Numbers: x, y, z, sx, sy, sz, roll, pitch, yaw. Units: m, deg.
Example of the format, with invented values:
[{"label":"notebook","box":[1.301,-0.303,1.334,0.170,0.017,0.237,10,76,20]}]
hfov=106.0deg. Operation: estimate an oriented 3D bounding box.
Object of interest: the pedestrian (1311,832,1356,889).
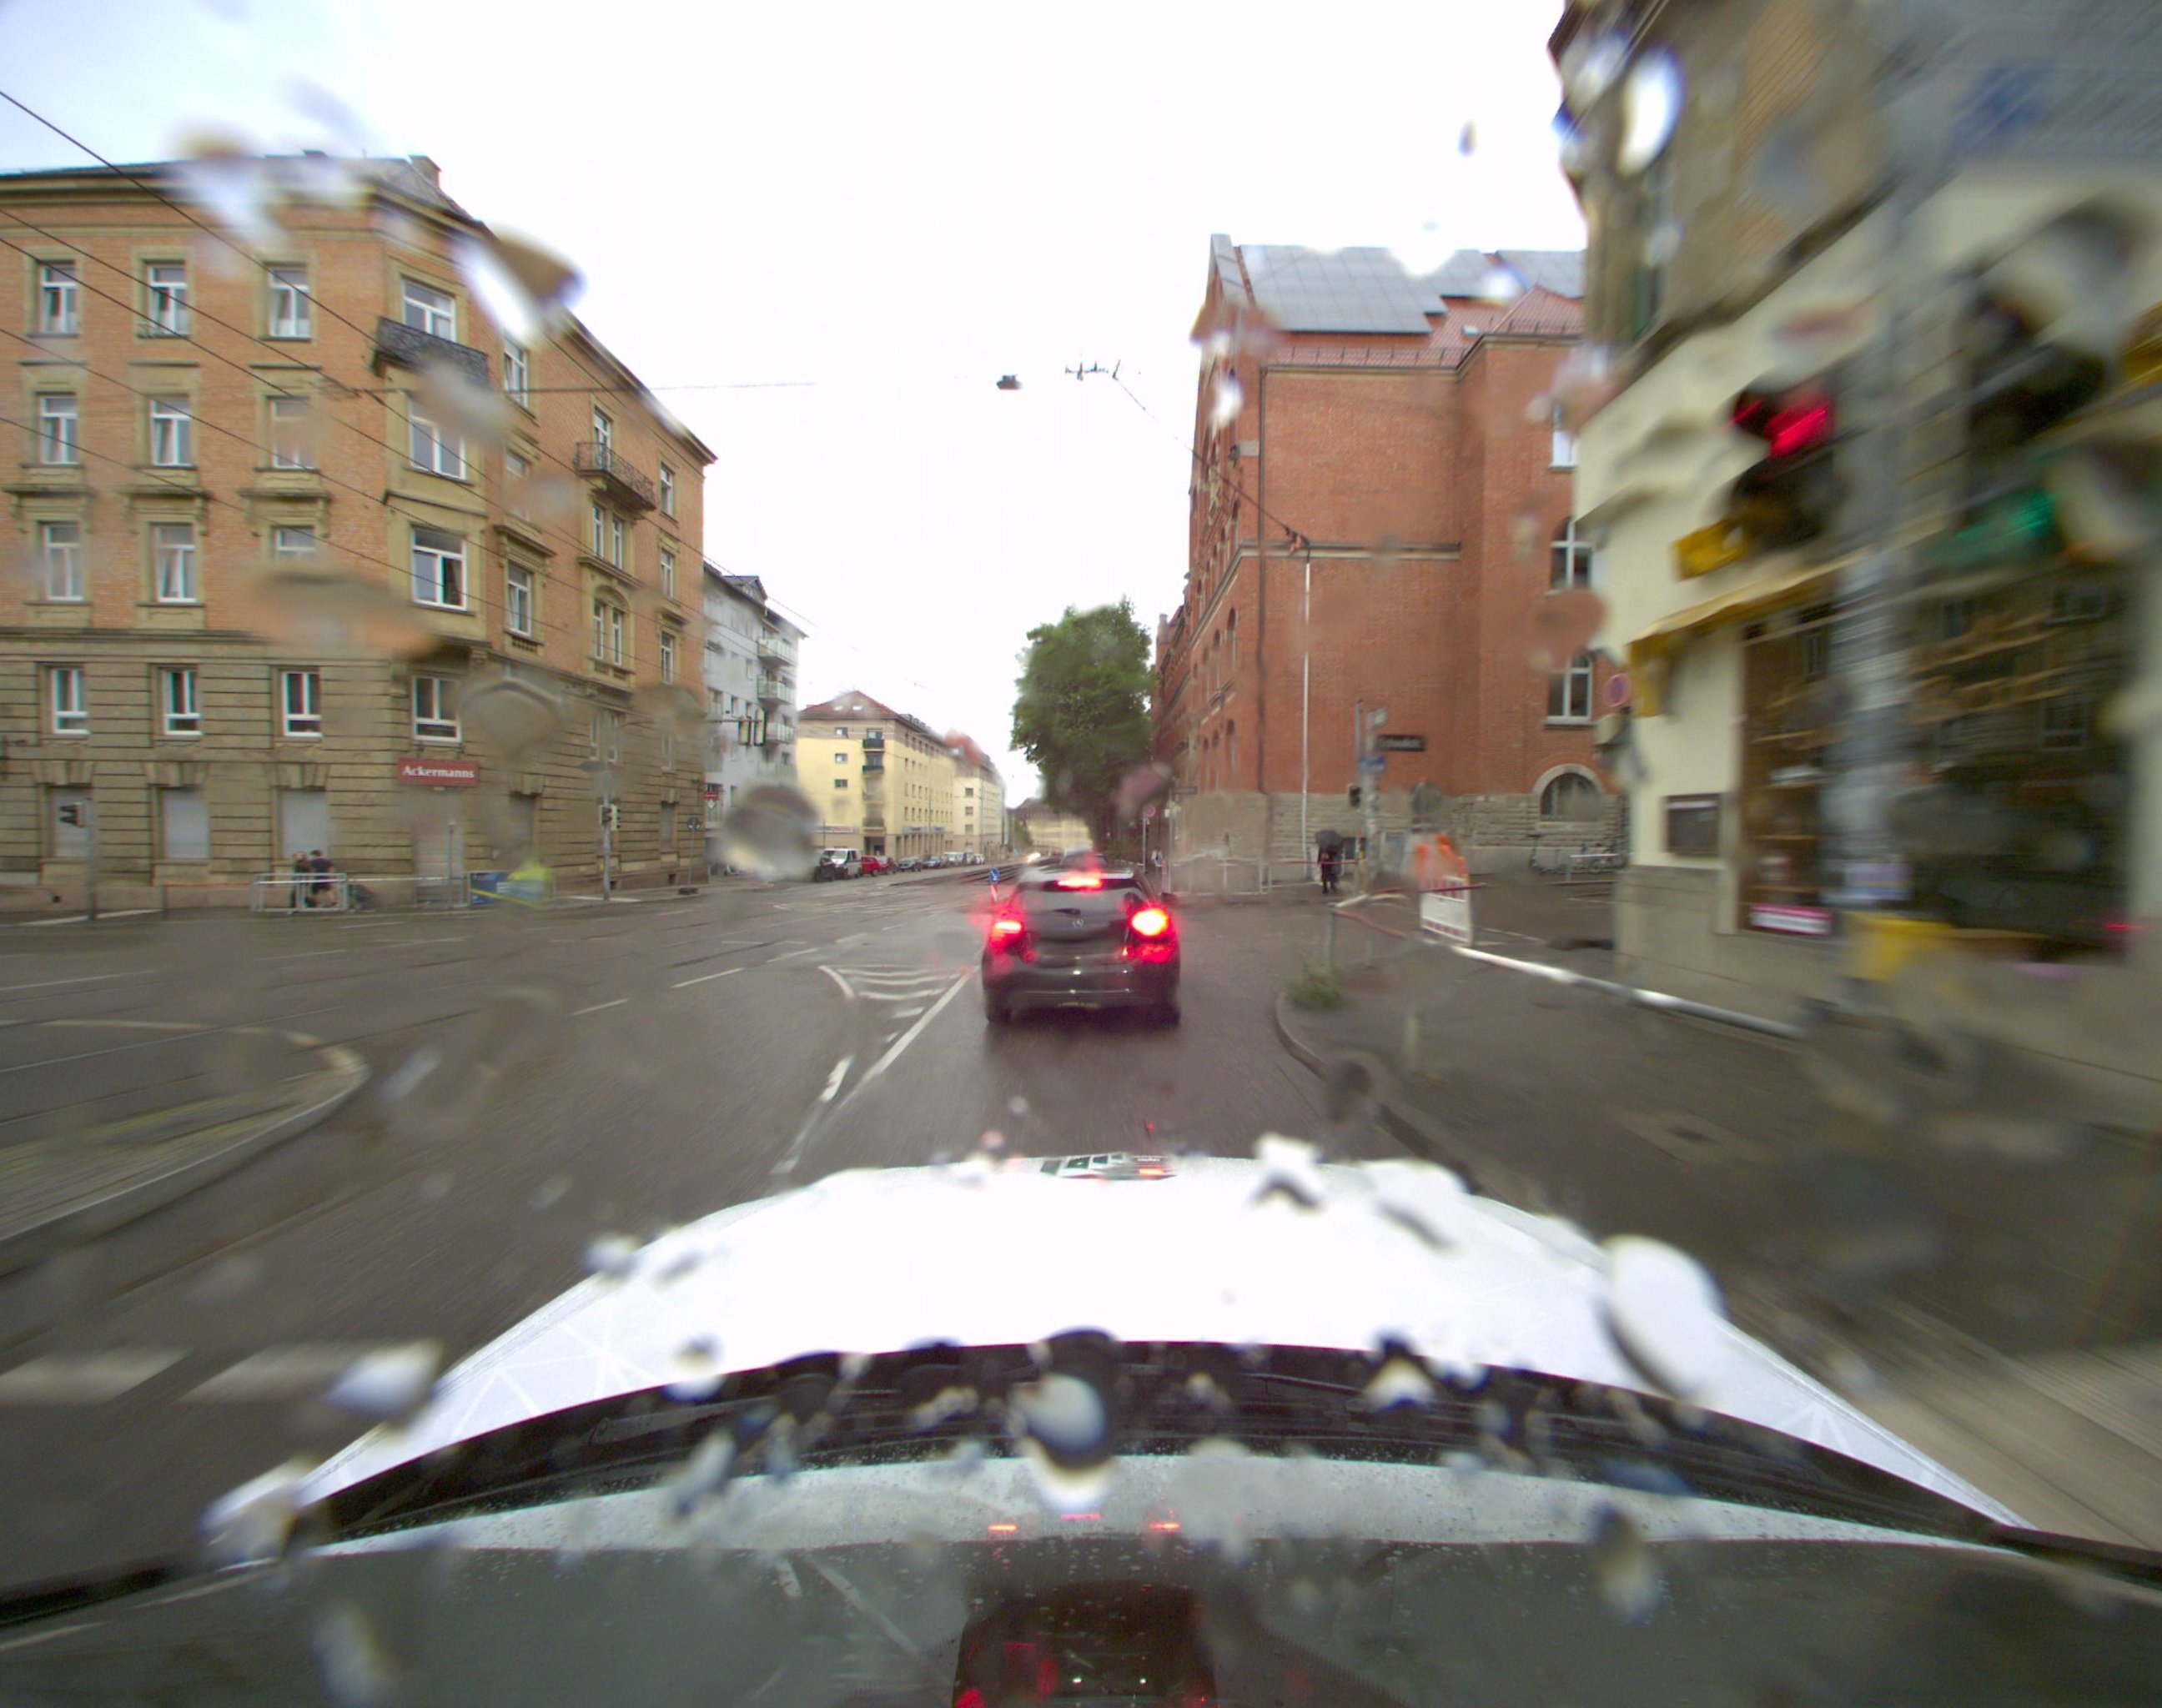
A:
[{"label":"pedestrian","box":[7.475,0.184,24.115,0.955,1.625,1.073,-2,0,-1]}]

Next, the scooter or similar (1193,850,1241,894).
[{"label":"scooter or similar","box":[4.008,0.521,23.975,1.236,1.250,0.641,-2,-1,21]}]

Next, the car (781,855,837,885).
[{"label":"car","box":[-15.529,0.864,46.723,1.727,1.651,4.362,0,0,0]}]

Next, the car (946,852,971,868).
[{"label":"car","box":[-15.625,0.707,103.813,1.985,1.905,5.465,1,0,4]}]

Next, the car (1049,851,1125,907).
[{"label":"car","box":[0.070,0.673,23.598,1.929,1.453,4.312,1,0,-3]}]

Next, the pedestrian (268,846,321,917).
[{"label":"pedestrian","box":[-20.240,0.694,20.968,0.623,1.766,0.640,-1,3,1]}]

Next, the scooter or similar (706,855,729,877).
[{"label":"scooter or similar","box":[-21.168,0.721,47.417,1.089,1.209,0.315,-4,0,-11]}]

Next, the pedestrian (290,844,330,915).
[{"label":"pedestrian","box":[-20.560,0.667,21.729,0.630,1.840,0.633,-1,0,-33]}]

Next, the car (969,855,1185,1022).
[{"label":"car","box":[-0.053,0.718,8.788,1.789,1.375,3.998,1,0,-1]}]

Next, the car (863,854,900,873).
[{"label":"car","box":[-15.569,0.744,63.620,1.646,1.451,4.077,0,0,3]}]

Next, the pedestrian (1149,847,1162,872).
[{"label":"pedestrian","box":[5.015,0.368,54.704,0.820,1.678,0.860,0,-1,2]}]

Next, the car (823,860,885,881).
[{"label":"car","box":[-15.997,1.154,57.603,1.762,1.434,4.007,0,0,34]}]

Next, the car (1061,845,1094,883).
[{"label":"car","box":[-0.229,0.532,44.566,1.736,2.014,3.901,0,0,-2]}]

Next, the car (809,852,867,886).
[{"label":"car","box":[-15.695,0.909,52.857,2.063,2.009,5.301,3,0,0]}]

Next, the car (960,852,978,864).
[{"label":"car","box":[-15.614,0.525,113.463,1.807,1.499,4.582,1,0,0]}]

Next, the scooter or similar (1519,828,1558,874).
[{"label":"scooter or similar","box":[14.534,-0.119,25.922,0.407,1.418,1.518,-1,3,1]}]

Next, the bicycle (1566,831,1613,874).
[{"label":"bicycle","box":[16.102,-0.065,25.838,0.412,1.202,1.667,-4,5,-1]}]

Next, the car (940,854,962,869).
[{"label":"car","box":[-15.594,0.852,97.935,1.861,1.717,4.460,0,0,0]}]

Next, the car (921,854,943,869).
[{"label":"car","box":[-15.751,0.765,86.201,1.848,1.508,4.982,0,0,-5]}]

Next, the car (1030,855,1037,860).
[{"label":"car","box":[-13.212,1.037,227.560,1.706,1.462,4.279,-1,0,0]}]

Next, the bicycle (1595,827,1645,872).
[{"label":"bicycle","box":[17.101,-0.176,25.886,0.342,1.244,1.840,-4,6,-1]}]

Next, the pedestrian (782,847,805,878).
[{"label":"pedestrian","box":[-18.195,0.509,51.534,1.171,1.929,1.175,0,0,-8]}]

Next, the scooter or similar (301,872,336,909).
[{"label":"scooter or similar","box":[-20.417,0.972,21.813,0.557,0.945,0.572,0,0,-30]}]

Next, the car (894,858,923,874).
[{"label":"car","box":[-15.345,1.036,72.766,1.675,1.396,4.620,0,0,-1]}]

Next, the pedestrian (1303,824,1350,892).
[{"label":"pedestrian","box":[6.996,0.112,23.247,0.955,1.887,1.073,-2,0,-1]}]
